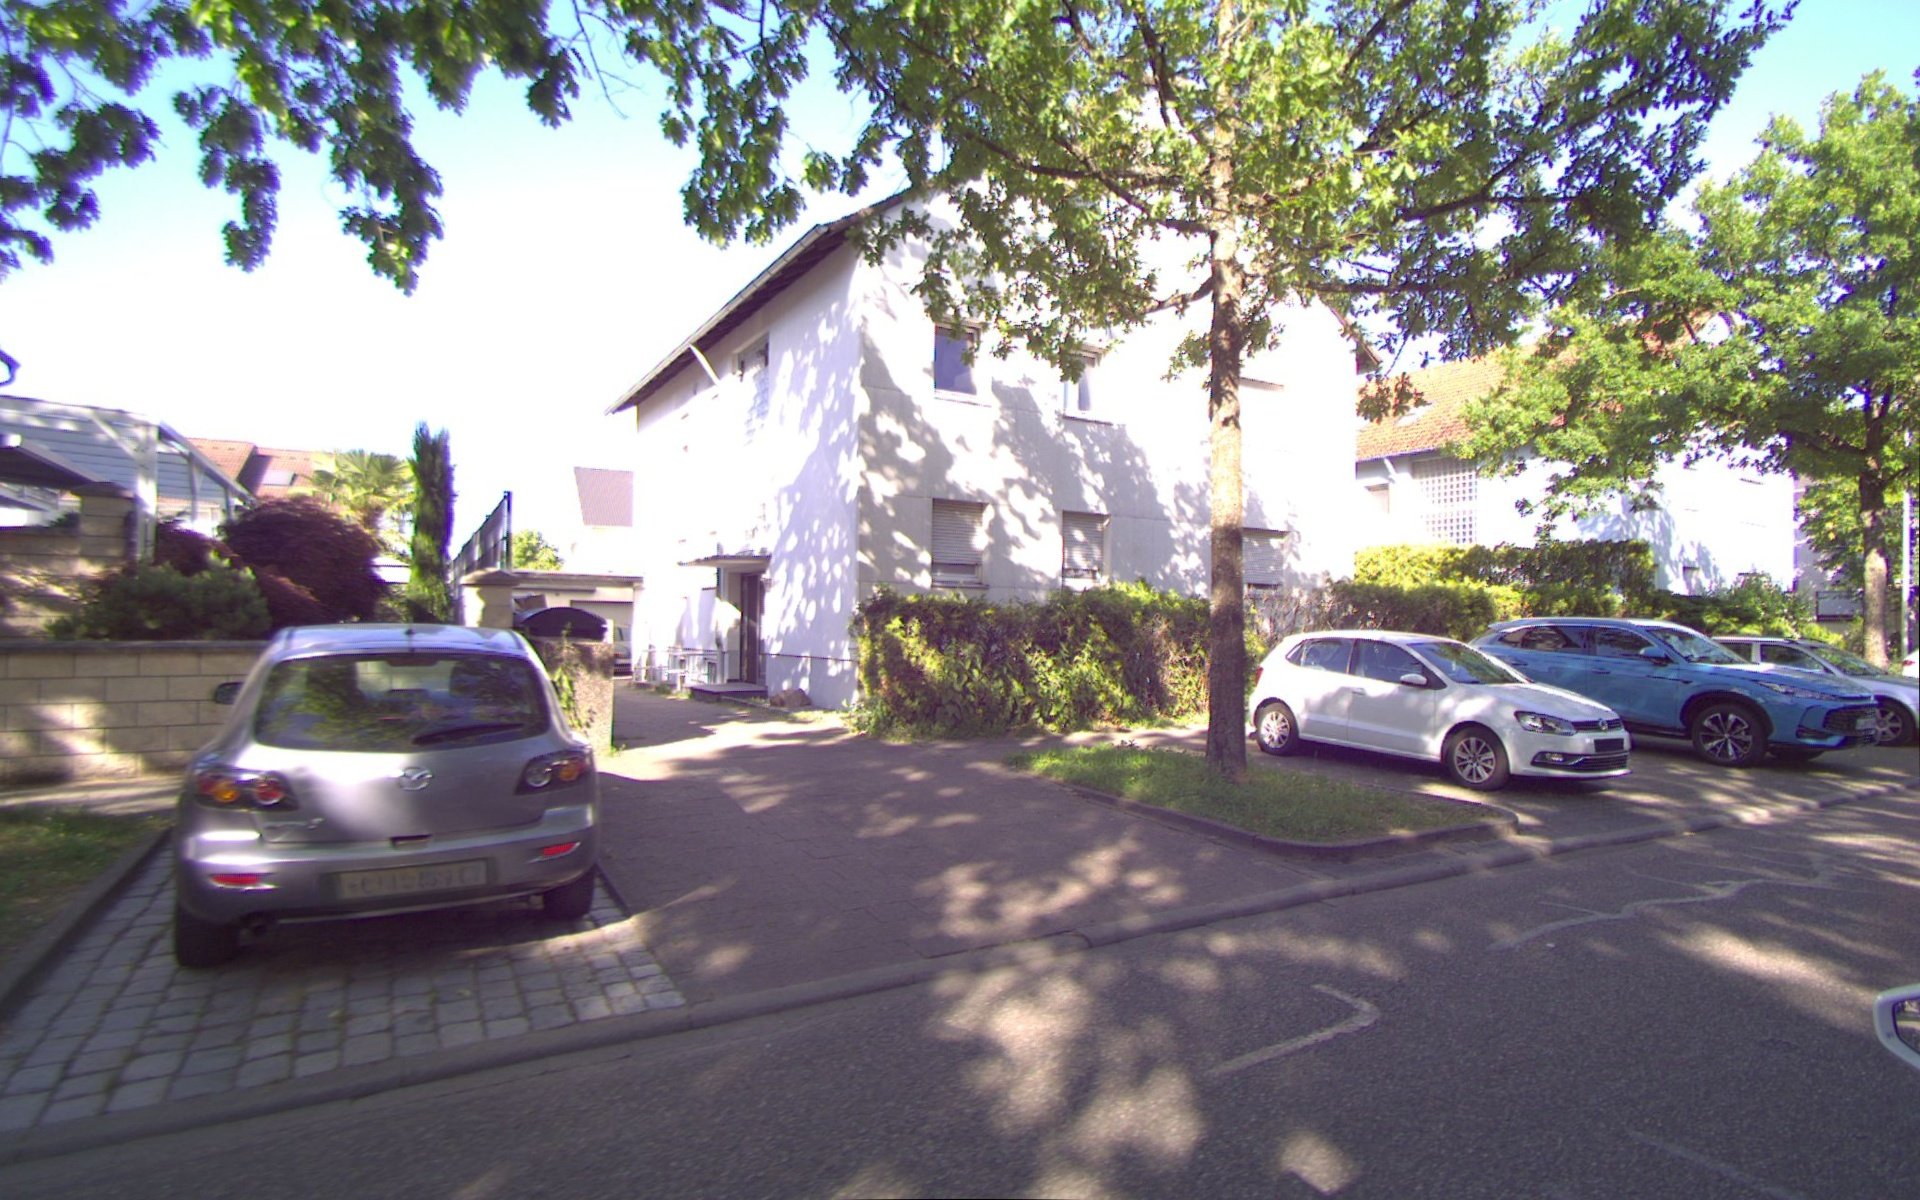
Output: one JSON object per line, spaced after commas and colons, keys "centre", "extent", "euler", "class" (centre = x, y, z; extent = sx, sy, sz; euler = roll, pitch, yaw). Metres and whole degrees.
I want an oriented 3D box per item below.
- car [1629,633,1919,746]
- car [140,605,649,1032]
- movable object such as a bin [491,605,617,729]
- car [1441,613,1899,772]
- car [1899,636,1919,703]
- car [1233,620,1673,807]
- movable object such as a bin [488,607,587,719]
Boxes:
{"centre": [12.950, 1.294, 15.458], "extent": [1.627, 1.511, 4.164], "euler": [2, -2, -29], "class": "car"}
{"centre": [-3.211, 0.820, 5.828], "extent": [1.789, 1.442, 4.013], "euler": [1, 1, -31], "class": "car"}
{"centre": [-5.160, 0.828, 12.730], "extent": [1.261, 1.453, 1.488], "euler": [2, -2, -30], "class": "movable object such as a bin"}
{"centre": [8.916, 1.040, 13.093], "extent": [1.914, 1.652, 4.503], "euler": [2, -1, -29], "class": "car"}
{"centre": [23.165, 1.546, 21.441], "extent": [1.748, 1.497, 4.255], "euler": [1, -1, -30], "class": "car"}
{"centre": [5.084, 1.062, 10.908], "extent": [1.835, 1.616, 3.969], "euler": [2, -2, -29], "class": "car"}
{"centre": [-5.809, 0.850, 13.792], "extent": [1.111, 1.455, 0.949], "euler": [2, -2, -30], "class": "movable object such as a bin"}
